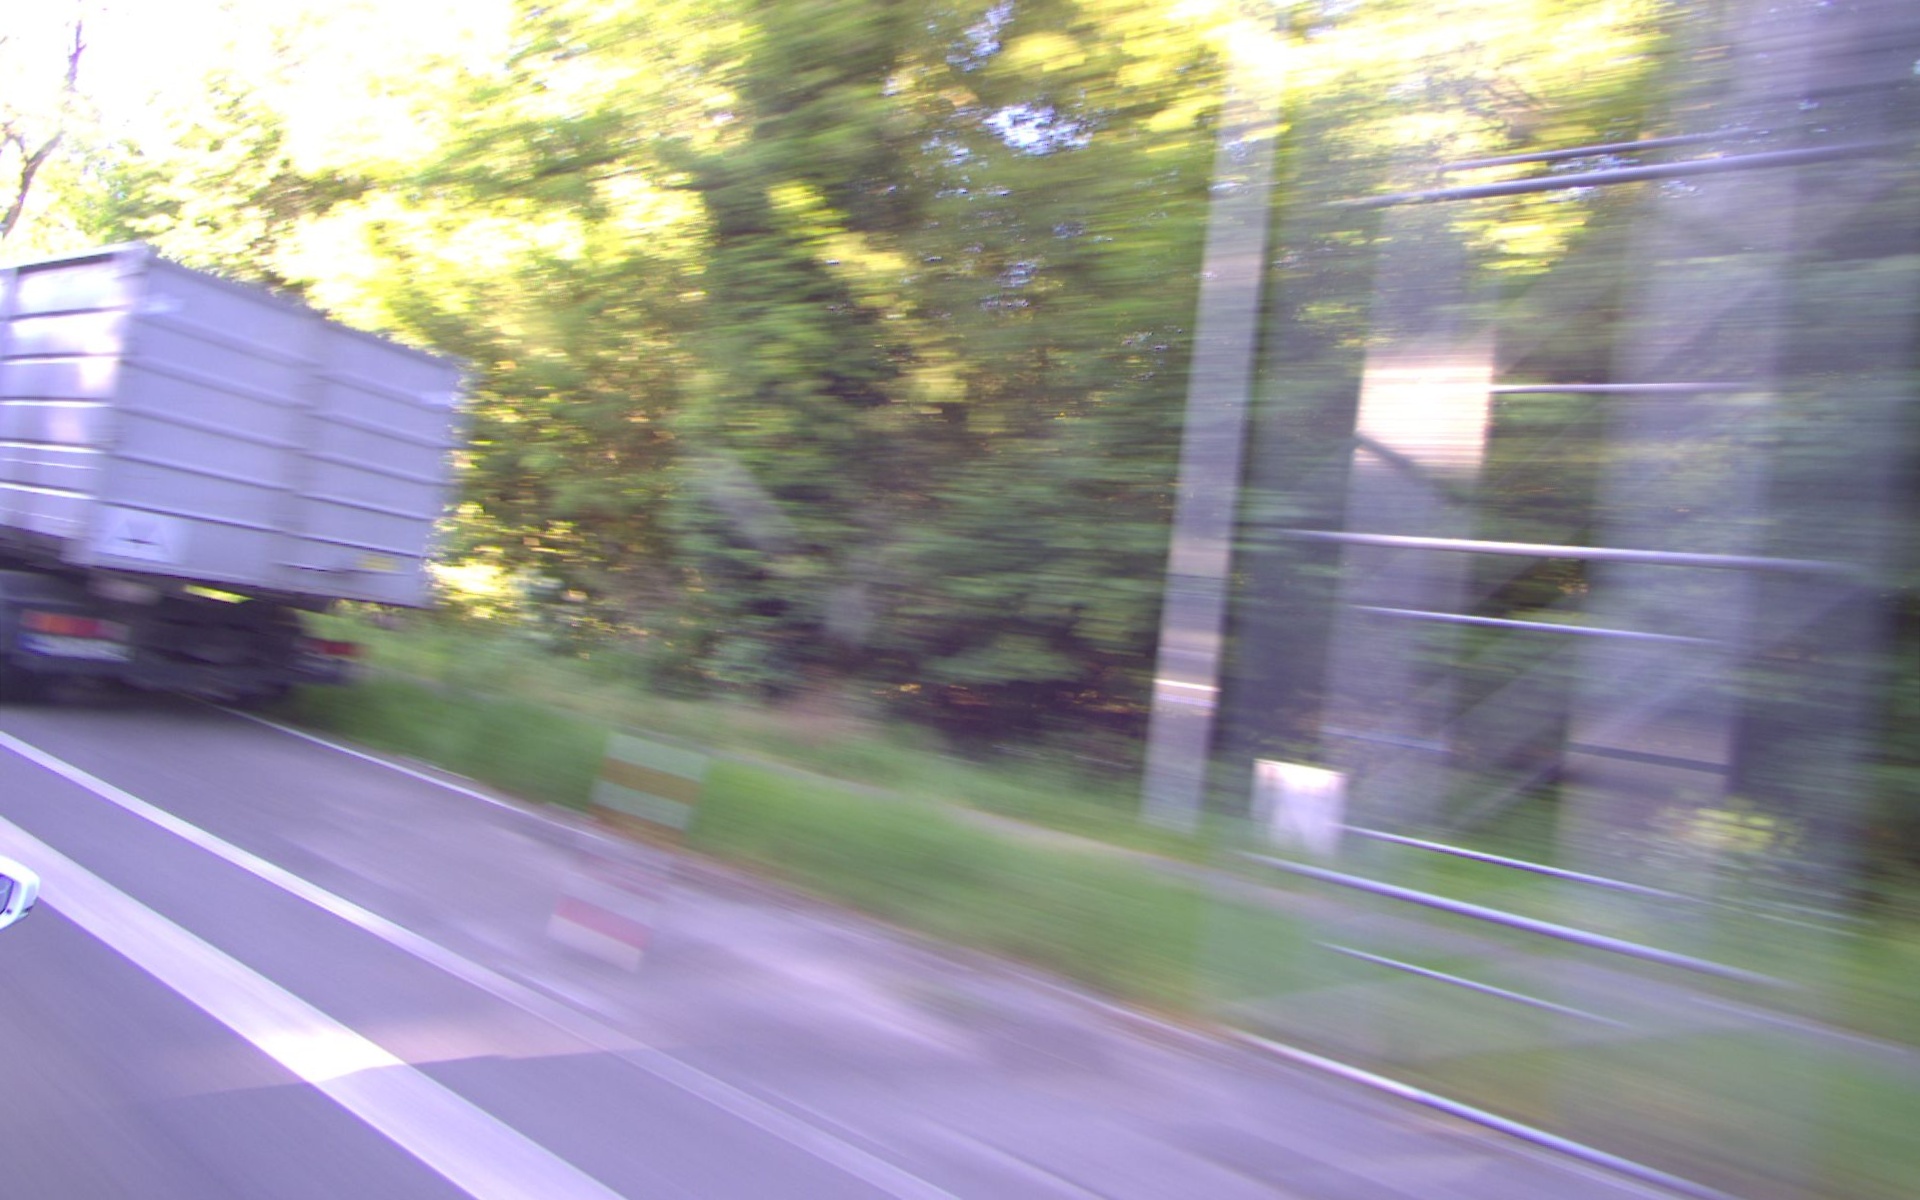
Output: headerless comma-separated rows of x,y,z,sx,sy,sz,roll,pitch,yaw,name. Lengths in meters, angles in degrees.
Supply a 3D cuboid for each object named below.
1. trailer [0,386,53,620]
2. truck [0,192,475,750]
-14.551,-1.537,13.300,5.121,2.877,2.277,7,-2,32,trailer
-7.769,-0.988,9.020,6.990,3.406,2.509,6,-1,32,truck
